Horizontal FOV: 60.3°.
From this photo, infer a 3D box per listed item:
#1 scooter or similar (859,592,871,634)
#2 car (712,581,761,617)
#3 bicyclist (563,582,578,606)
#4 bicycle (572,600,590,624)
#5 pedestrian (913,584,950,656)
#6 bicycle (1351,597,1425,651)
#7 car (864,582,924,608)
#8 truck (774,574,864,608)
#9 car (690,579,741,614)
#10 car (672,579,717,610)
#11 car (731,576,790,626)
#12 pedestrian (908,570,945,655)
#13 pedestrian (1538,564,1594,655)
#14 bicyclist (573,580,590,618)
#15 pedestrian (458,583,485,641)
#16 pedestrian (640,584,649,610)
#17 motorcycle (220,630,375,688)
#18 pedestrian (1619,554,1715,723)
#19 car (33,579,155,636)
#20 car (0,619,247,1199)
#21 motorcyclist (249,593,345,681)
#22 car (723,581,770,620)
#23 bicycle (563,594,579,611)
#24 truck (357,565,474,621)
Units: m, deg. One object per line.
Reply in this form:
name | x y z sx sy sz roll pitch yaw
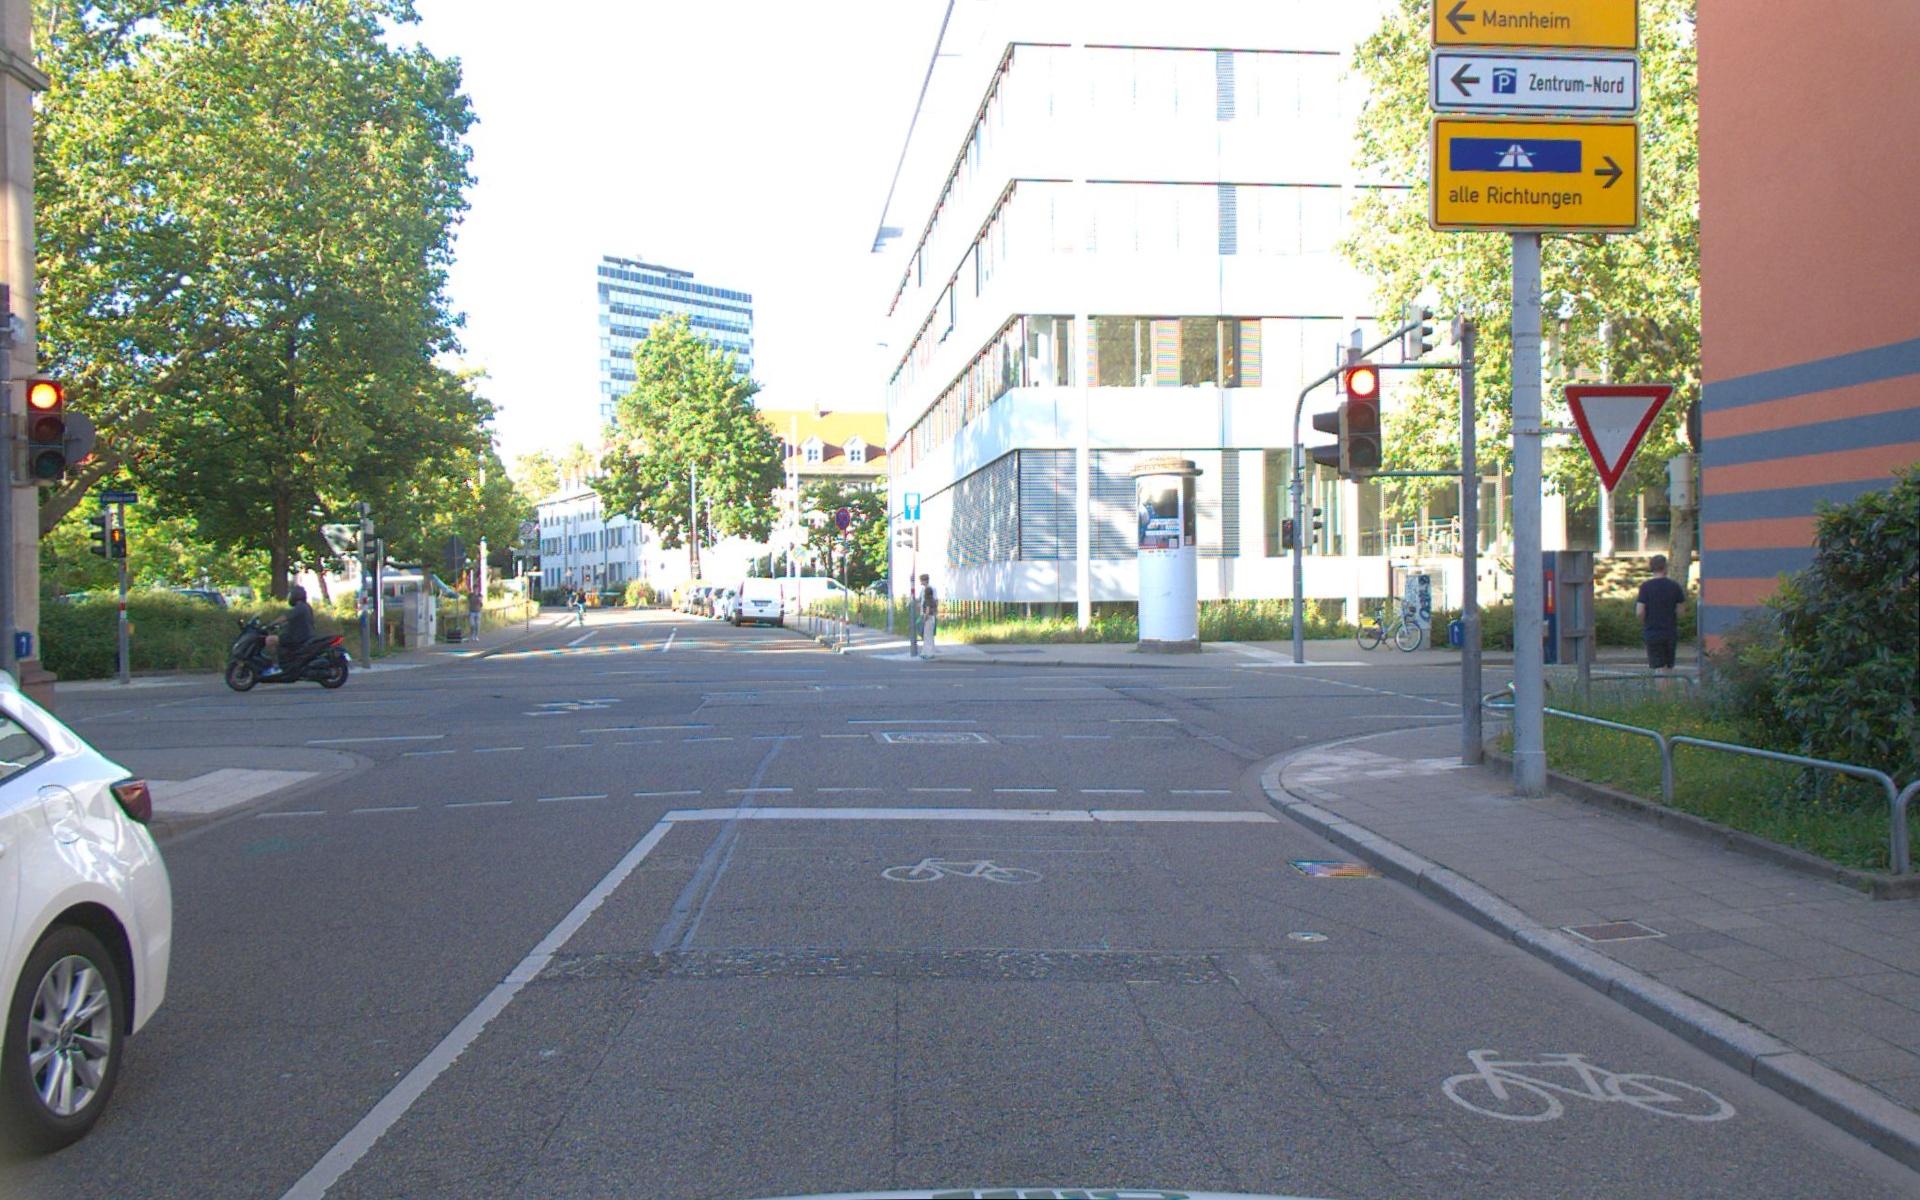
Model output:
scooter or similar | -3.361 0.450 58.513 0.324 1.449 1.333 1 0 -6
car | -10.604 -0.090 78.154 1.856 1.582 4.400 0 1 -14
bicyclist | -25.455 -0.396 108.190 0.850 1.541 1.016 -3 0 -11
bicycle | -15.794 0.487 68.977 0.604 0.986 1.837 -1 1 -9
pedestrian | -0.643 0.440 37.187 0.551 1.567 0.673 -4 1 -19
bicycle | 9.351 0.512 36.172 0.503 1.067 1.667 -3 4 -35
car | -4.157 -0.324 104.181 3.502 1.573 1.549 -1 0 -20
truck | -8.771 -0.543 102.926 5.258 2.049 1.989 -1 0 -20
car | -12.668 -0.213 85.371 1.860 1.684 4.391 0 1 -19
car | -15.341 -0.324 95.268 1.860 1.684 4.391 0 1 -19
car | -7.824 0.001 64.507 2.047 1.827 4.404 0 1 -10
pedestrian | -0.758 0.274 37.791 0.547 1.882 0.678 -3 1 15
pedestrian | 12.638 0.196 34.512 0.819 1.872 0.707 1 0 -11
bicyclist | -15.803 -0.051 68.988 0.604 1.559 0.901 -1 0 -9
pedestrian | -14.981 0.358 50.744 0.691 1.753 0.951 -2 0 -14
pedestrian | -20.503 -0.203 107.474 0.428 1.636 0.488 -1 0 -27
motorcycle | -11.146 0.988 27.877 2.251 0.904 0.821 -1 0 -2
pedestrian | 8.025 0.425 18.804 0.692 1.872 0.837 1 0 -1
car | -39.972 0.321 76.444 4.472 2.433 2.069 -2 0 -10
car | -3.393 0.870 3.363 1.848 1.501 4.545 -3 0 0
motorcyclist | -11.163 0.615 27.880 1.268 1.444 0.821 -1 0 -2
car | -9.437 -0.016 72.800 1.854 1.582 4.404 0 1 -10
bicycle | -25.431 0.150 108.177 0.850 1.027 2.408 -3 0 -11
truck | -24.560 -0.327 74.760 4.741 2.441 2.082 0 1 -11
